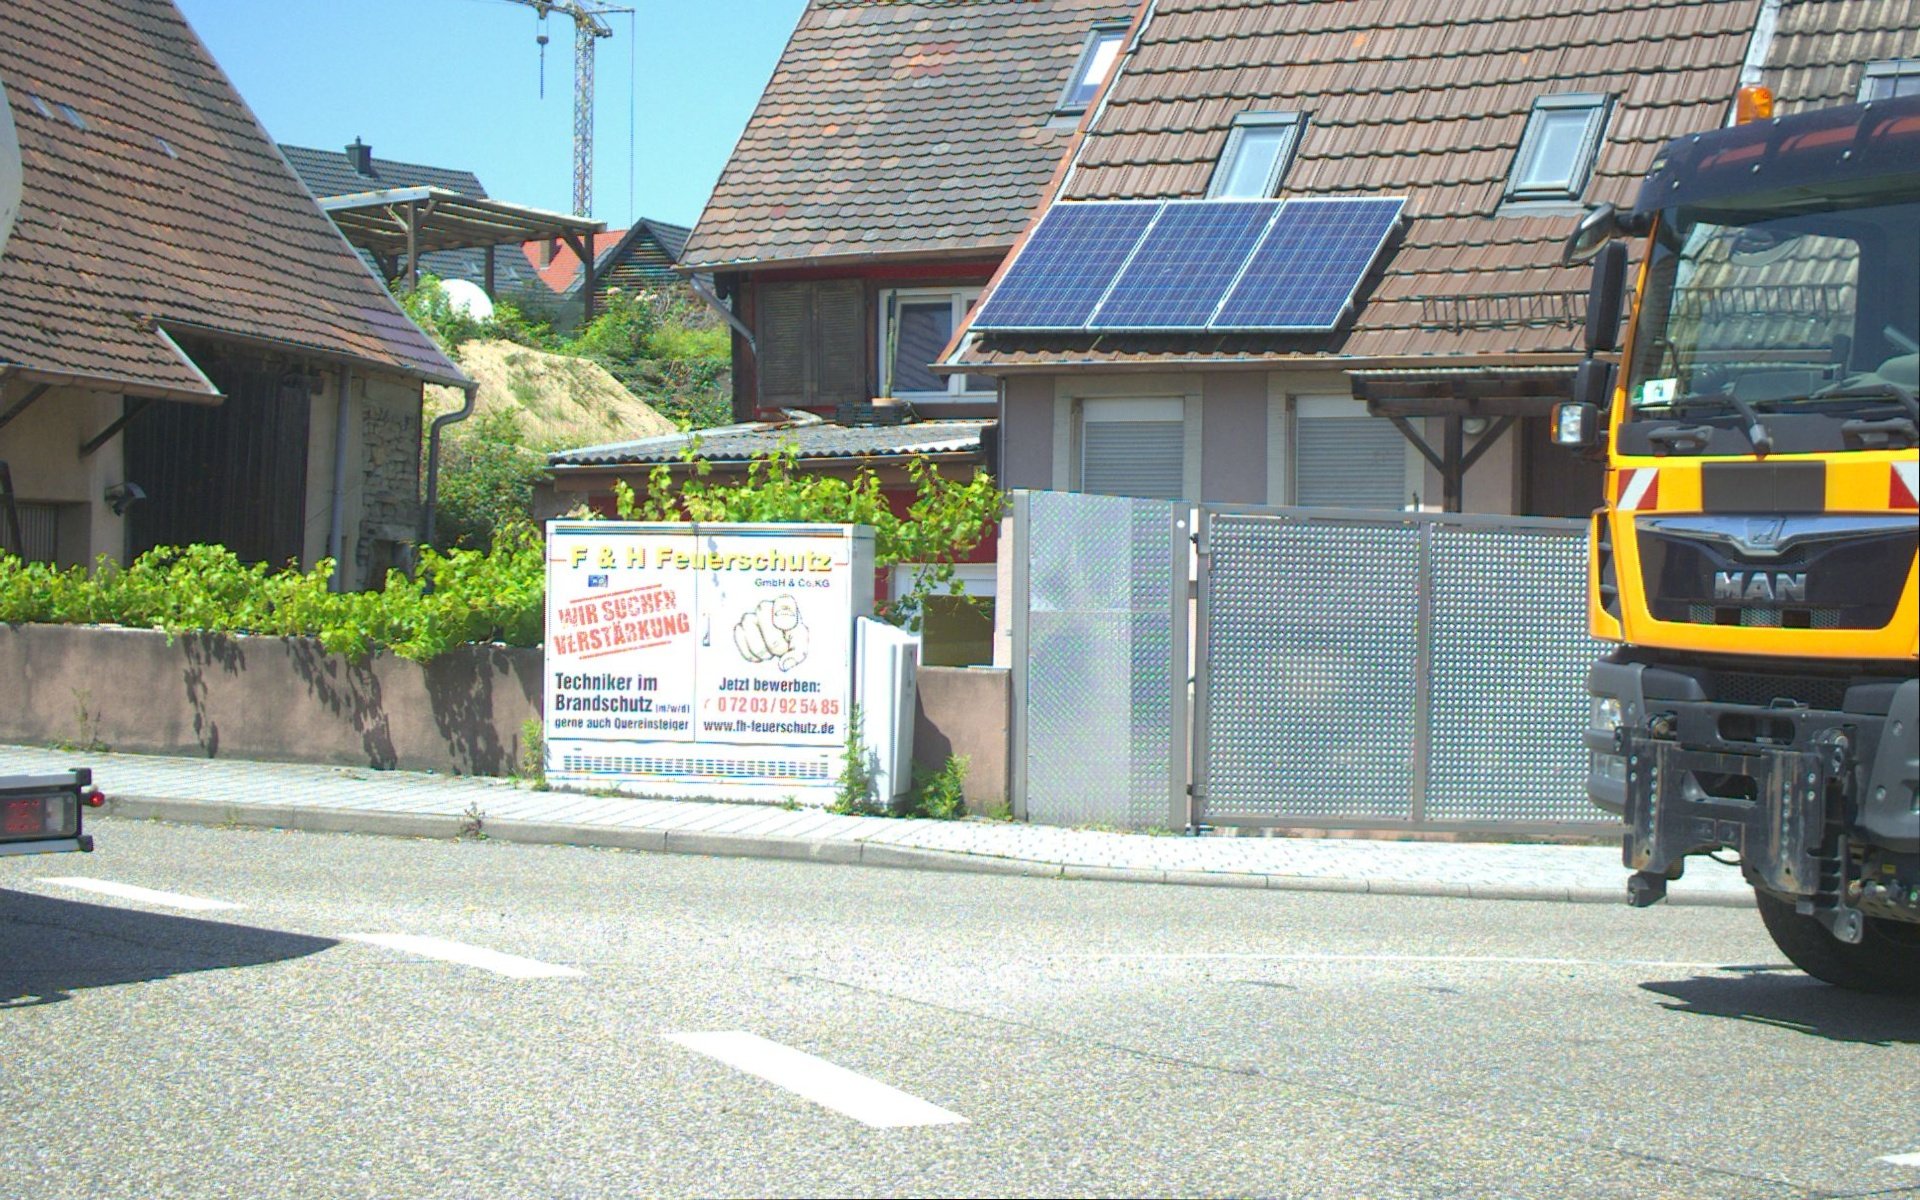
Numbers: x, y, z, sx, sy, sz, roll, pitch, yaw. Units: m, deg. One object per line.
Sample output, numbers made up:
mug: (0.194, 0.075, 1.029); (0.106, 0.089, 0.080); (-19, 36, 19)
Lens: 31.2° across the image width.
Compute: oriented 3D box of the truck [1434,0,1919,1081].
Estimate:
truck: (5.664, -0.061, 12.485); (7.436, 3.170, 2.670); (3, -1, -25)

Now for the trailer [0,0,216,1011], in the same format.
trailer: (-7.351, -0.956, 14.028); (2.954, 3.934, 11.614); (1, 1, -42)
